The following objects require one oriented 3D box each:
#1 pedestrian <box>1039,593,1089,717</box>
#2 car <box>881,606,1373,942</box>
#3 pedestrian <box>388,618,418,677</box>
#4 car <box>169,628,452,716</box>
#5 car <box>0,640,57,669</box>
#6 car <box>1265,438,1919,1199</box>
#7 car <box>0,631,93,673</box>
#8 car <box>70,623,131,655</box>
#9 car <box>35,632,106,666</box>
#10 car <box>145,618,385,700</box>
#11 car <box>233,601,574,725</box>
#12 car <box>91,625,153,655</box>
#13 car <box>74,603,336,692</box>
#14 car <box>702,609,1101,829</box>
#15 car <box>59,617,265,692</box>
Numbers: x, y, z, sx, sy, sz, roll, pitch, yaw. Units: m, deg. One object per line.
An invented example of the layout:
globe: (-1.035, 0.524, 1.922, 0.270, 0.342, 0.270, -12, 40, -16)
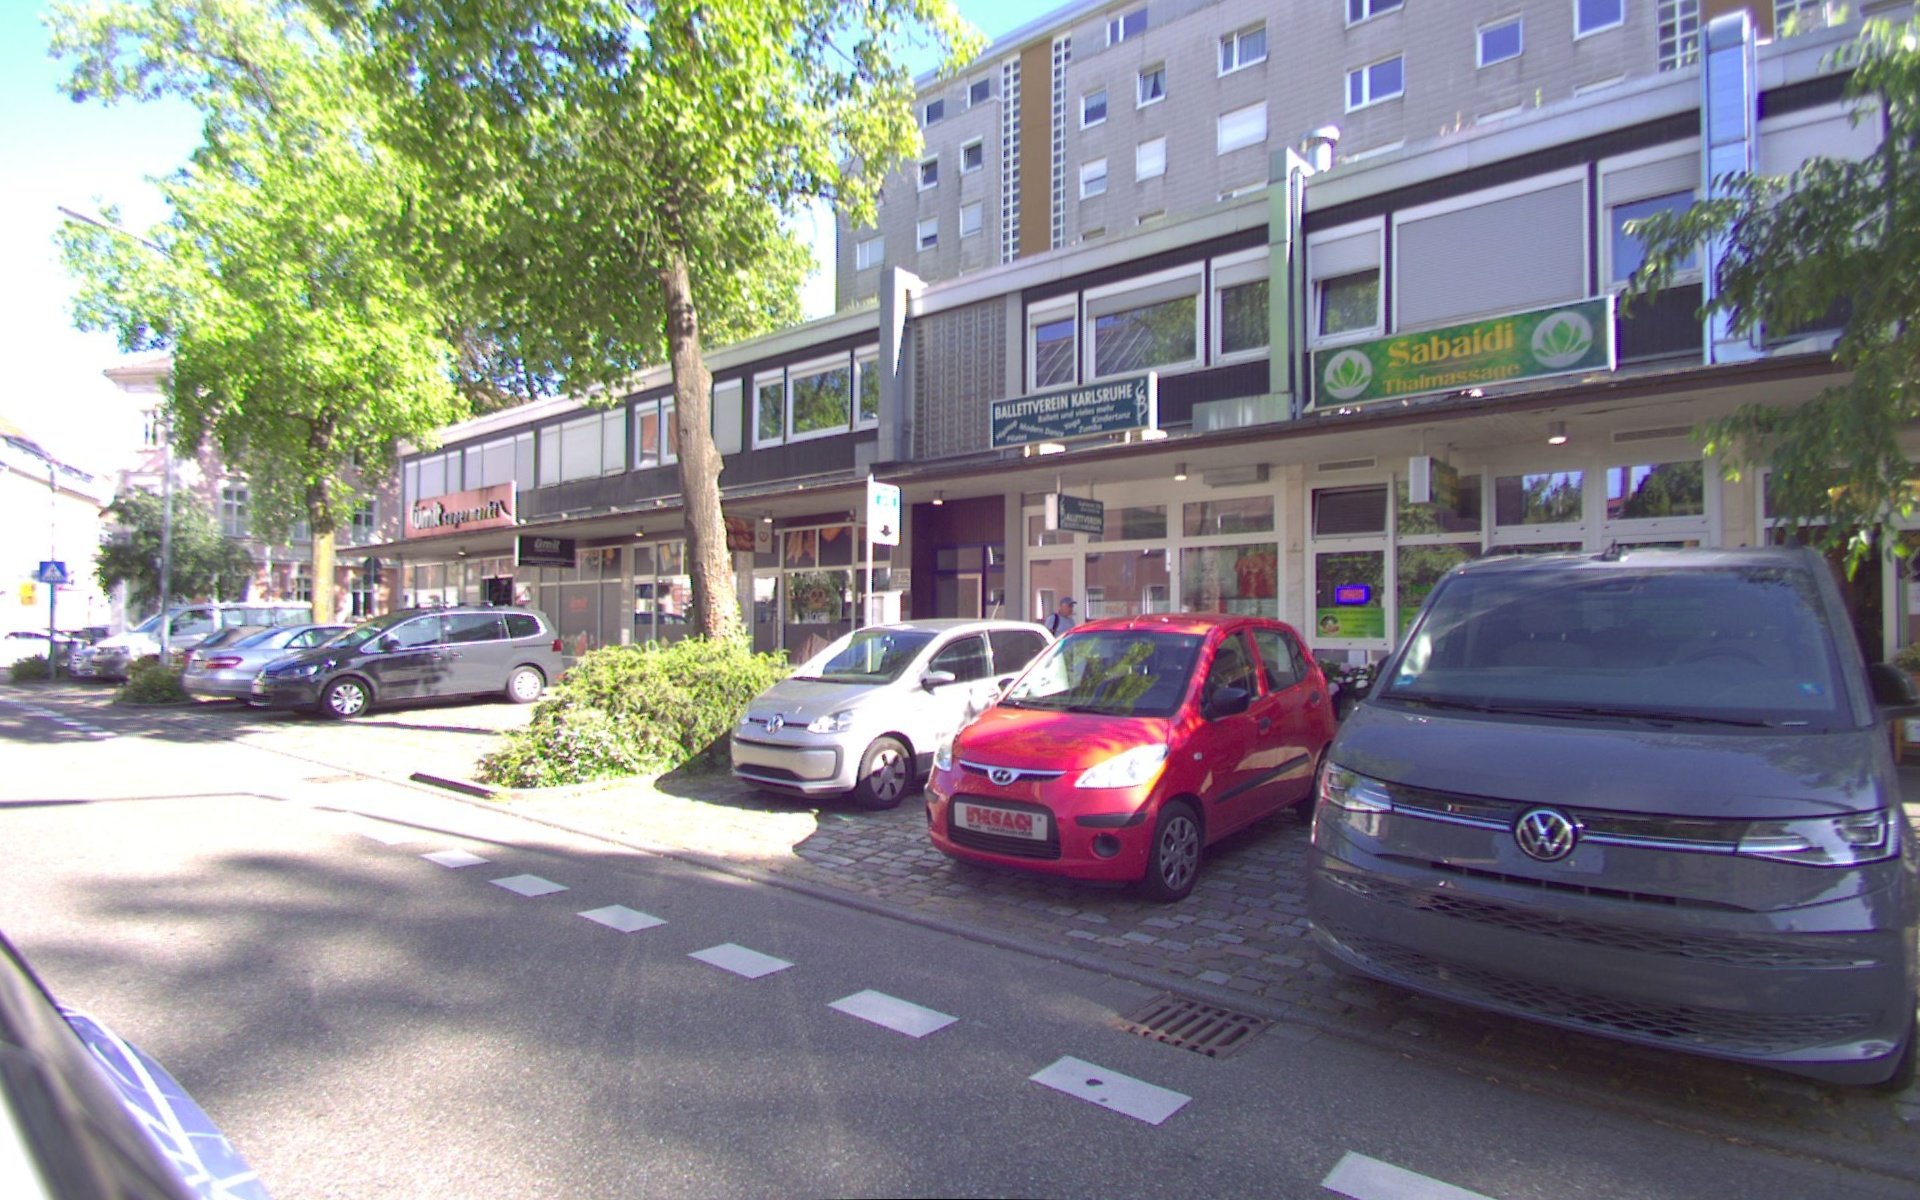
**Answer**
pedestrian: (1.453, 0.754, 14.110, 0.532, 1.678, 0.439, -2, -3, 41)
car: (1.302, 0.847, 6.687, 1.660, 1.566, 3.522, -2, -1, 39)
pedestrian: (-15.267, 1.292, 27.731, 0.662, 1.567, 0.522, -1, -1, 41)
car: (-11.579, 1.216, 18.272, 1.757, 1.409, 3.948, -2, -2, 38)
car: (-49.833, 2.867, 53.884, 1.966, 1.475, 4.011, 1, -2, -32)
car: (3.400, 0.588, 4.883, 1.871, 1.953, 4.979, -2, -1, 40)
car: (-33.607, 1.797, 35.283, 1.994, 1.436, 4.750, -1, -2, 33)
car: (-46.767, 2.130, 55.135, 1.482, 1.675, 4.013, 1, -3, -26)
car: (-44.858, 2.448, 51.112, 1.645, 1.650, 4.061, 1, -2, -26)
car: (-14.988, 1.210, 22.000, 1.735, 1.431, 3.949, -2, 1, 38)
car: (-9.217, 0.936, 17.126, 1.872, 1.790, 4.721, -2, -1, 39)
car: (-48.896, 2.339, 59.153, 1.827, 1.674, 4.013, 1, -2, -26)
car: (-18.619, 1.090, 25.193, 1.907, 1.984, 4.934, -2, -1, 38)
car: (-0.382, 0.898, 9.297, 1.671, 1.573, 3.549, -2, -1, 40)
car: (-20.834, 1.381, 26.541, 1.755, 1.805, 3.947, -2, -2, 39)
